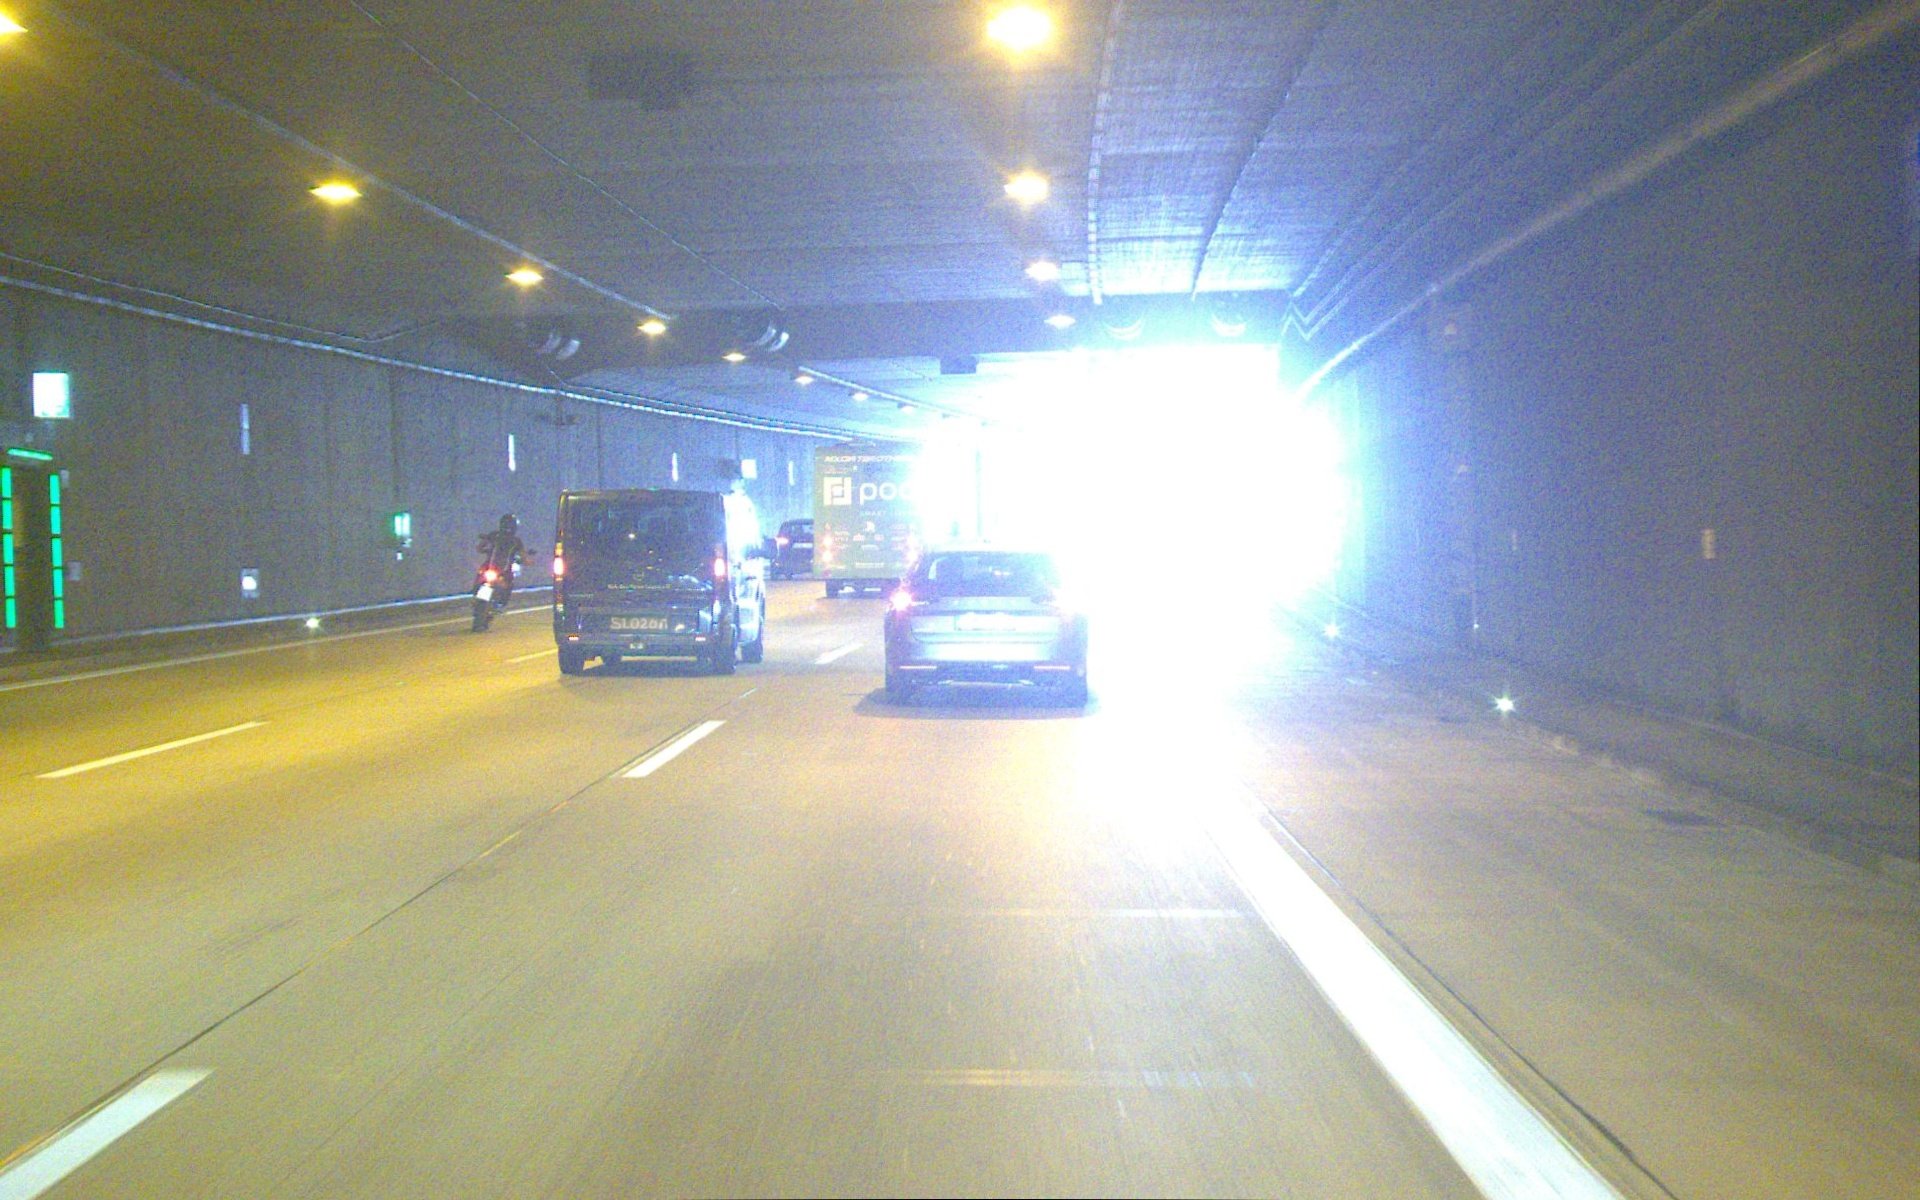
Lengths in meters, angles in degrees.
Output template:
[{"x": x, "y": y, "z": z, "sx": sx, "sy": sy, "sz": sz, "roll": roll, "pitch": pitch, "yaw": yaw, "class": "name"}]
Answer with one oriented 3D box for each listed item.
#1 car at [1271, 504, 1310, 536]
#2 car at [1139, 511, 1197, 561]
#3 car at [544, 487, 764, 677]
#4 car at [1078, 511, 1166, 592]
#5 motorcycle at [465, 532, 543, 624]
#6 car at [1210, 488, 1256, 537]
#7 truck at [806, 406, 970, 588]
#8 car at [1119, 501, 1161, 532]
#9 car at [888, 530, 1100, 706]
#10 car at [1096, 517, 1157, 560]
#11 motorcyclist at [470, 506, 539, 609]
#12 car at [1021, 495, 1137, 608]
[{"x": 17.791, "y": -4.303, "z": 185.109, "sx": 1.931, "sy": 1.637, "sz": 3.999, "roll": 1, "pitch": 1, "yaw": 8, "class": "car"}, {"x": 7.465, "y": -2.275, "z": 123.142, "sx": 1.931, "sy": 1.637, "sz": 3.999, "roll": 0, "pitch": -1, "yaw": 5, "class": "car"}, {"x": -3.233, "y": -0.236, "z": 37.065, "sx": 1.910, "sy": 1.937, "sz": 3.871, "roll": 0, "pitch": 2, "yaw": 2, "class": "car"}, {"x": 3.827, "y": -1.117, "z": 80.865, "sx": 1.950, "sy": 1.766, "sz": 3.999, "roll": 0, "pitch": -1, "yaw": 4, "class": "car"}, {"x": -6.566, "y": -0.307, "z": 49.603, "sx": 0.683, "sy": 1.292, "sz": 2.398, "roll": 0, "pitch": 0, "yaw": 3, "class": "motorcycle"}, {"x": 12.075, "y": -3.848, "z": 151.984, "sx": 1.994, "sy": 2.007, "sz": 3.999, "roll": 0, "pitch": -1, "yaw": 4, "class": "car"}, {"x": -1.445, "y": -2.144, "z": 73.135, "sx": 3.039, "sy": 3.660, "sz": 7.392, "roll": 0, "pitch": 1, "yaw": 2, "class": "truck"}, {"x": 9.569, "y": -4.417, "z": 182.558, "sx": 1.931, "sy": 1.637, "sz": 3.999, "roll": 0, "pitch": 1, "yaw": 7, "class": "car"}, {"x": 0.366, "y": 0.112, "z": 31.080, "sx": 1.742, "sy": 1.459, "sz": 3.871, "roll": 0, "pitch": 2, "yaw": 3, "class": "car"}, {"x": 6.509, "y": -2.391, "z": 134.261, "sx": 1.994, "sy": 1.626, "sz": 3.999, "roll": 0, "pitch": 0, "yaw": 8, "class": "car"}, {"x": -6.567, "y": -0.608, "z": 49.596, "sx": 0.777, "sy": 1.448, "sz": 1.068, "roll": 0, "pitch": -1, "yaw": 4, "class": "motorcyclist"}, {"x": 2.060, "y": -0.837, "z": 58.747, "sx": 1.857, "sy": 1.848, "sz": 4.000, "roll": 0, "pitch": 1, "yaw": 4, "class": "car"}]
